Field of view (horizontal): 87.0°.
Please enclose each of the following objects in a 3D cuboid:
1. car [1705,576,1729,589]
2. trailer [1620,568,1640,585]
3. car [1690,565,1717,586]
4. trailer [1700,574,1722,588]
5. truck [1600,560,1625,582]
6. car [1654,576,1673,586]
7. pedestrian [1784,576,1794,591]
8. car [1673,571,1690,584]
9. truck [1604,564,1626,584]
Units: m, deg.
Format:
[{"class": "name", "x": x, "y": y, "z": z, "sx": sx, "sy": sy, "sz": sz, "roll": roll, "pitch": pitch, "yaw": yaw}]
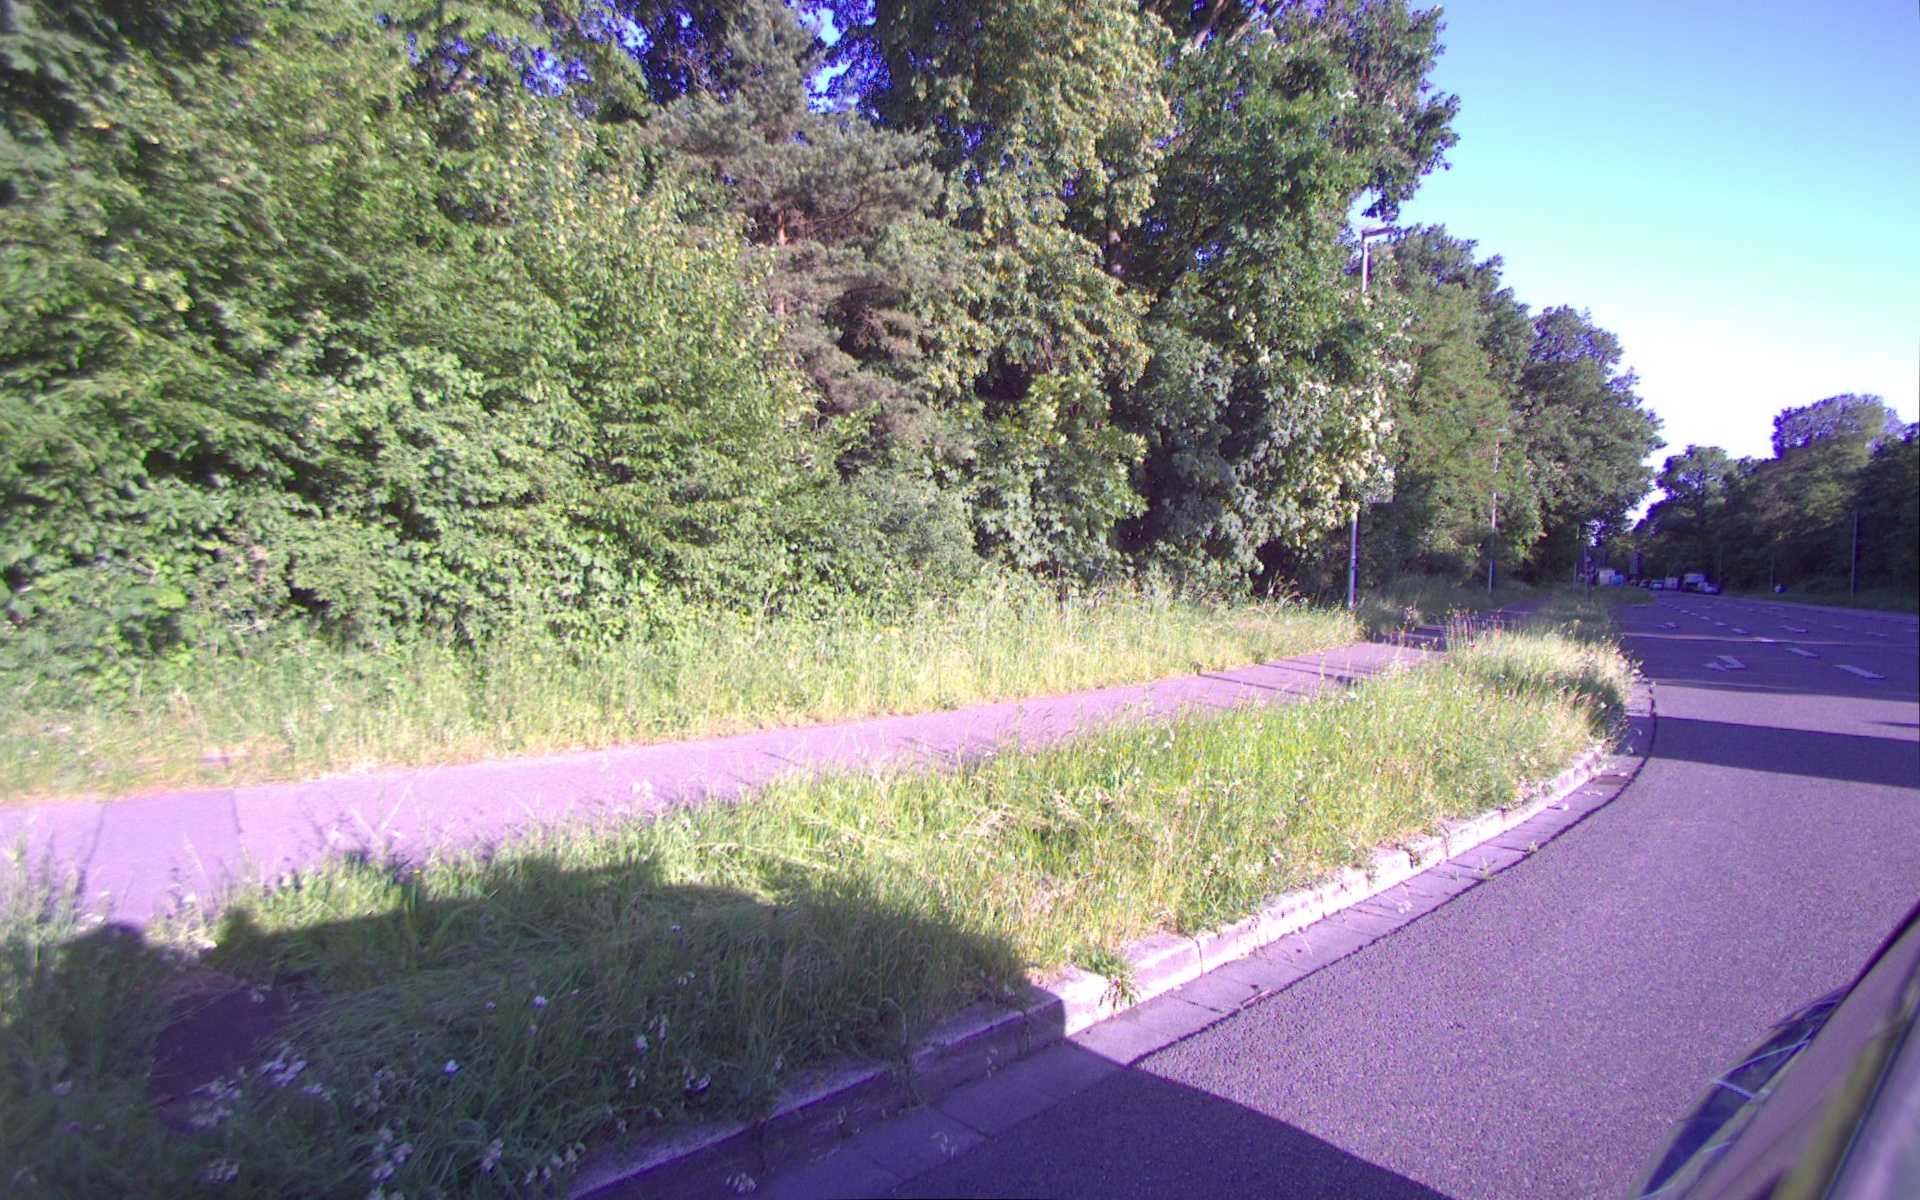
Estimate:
[{"class": "car", "x": 100.135, "y": -2.355, "z": 133.857, "sx": 1.900, "sy": 1.481, "sz": 3.972, "roll": 4, "pitch": 4, "yaw": 29}, {"class": "trailer", "x": 89.472, "y": -3.096, "z": 135.149, "sx": 1.854, "sy": 2.204, "sz": 4.087, "roll": 1, "pitch": 2, "yaw": 29}, {"class": "car", "x": 109.054, "y": -3.559, "z": 148.483, "sx": 2.441, "sy": 2.881, "sz": 4.751, "roll": 4, "pitch": 4, "yaw": 29}, {"class": "trailer", "x": 102.536, "y": -2.611, "z": 138.201, "sx": 1.792, "sy": 1.750, "sz": 3.611, "roll": 4, "pitch": 4, "yaw": 29}, {"class": "truck", "x": 102.295, "y": -4.603, "z": 158.758, "sx": 2.685, "sy": 3.276, "sz": 7.057, "roll": 4, "pitch": 4, "yaw": 29}, {"class": "car", "x": 109.431, "y": -2.907, "z": 157.381, "sx": 1.818, "sy": 1.473, "sz": 4.437, "roll": 3, "pitch": 3, "yaw": 28}, {"class": "pedestrian", "x": 95.746, "y": -1.912, "z": 116.935, "sx": 0.709, "sy": 1.584, "sz": 0.816, "roll": 4, "pitch": 3, "yaw": 33}, {"class": "car", "x": 125.144, "y": -3.938, "z": 175.518, "sx": 1.678, "sy": 2.126, "sz": 4.586, "roll": 4, "pitch": 4, "yaw": 29}, {"class": "truck", "x": 97.486, "y": -3.871, "z": 150.726, "sx": 2.370, "sy": 2.907, "sz": 5.542, "roll": 0, "pitch": 2, "yaw": 29}]
